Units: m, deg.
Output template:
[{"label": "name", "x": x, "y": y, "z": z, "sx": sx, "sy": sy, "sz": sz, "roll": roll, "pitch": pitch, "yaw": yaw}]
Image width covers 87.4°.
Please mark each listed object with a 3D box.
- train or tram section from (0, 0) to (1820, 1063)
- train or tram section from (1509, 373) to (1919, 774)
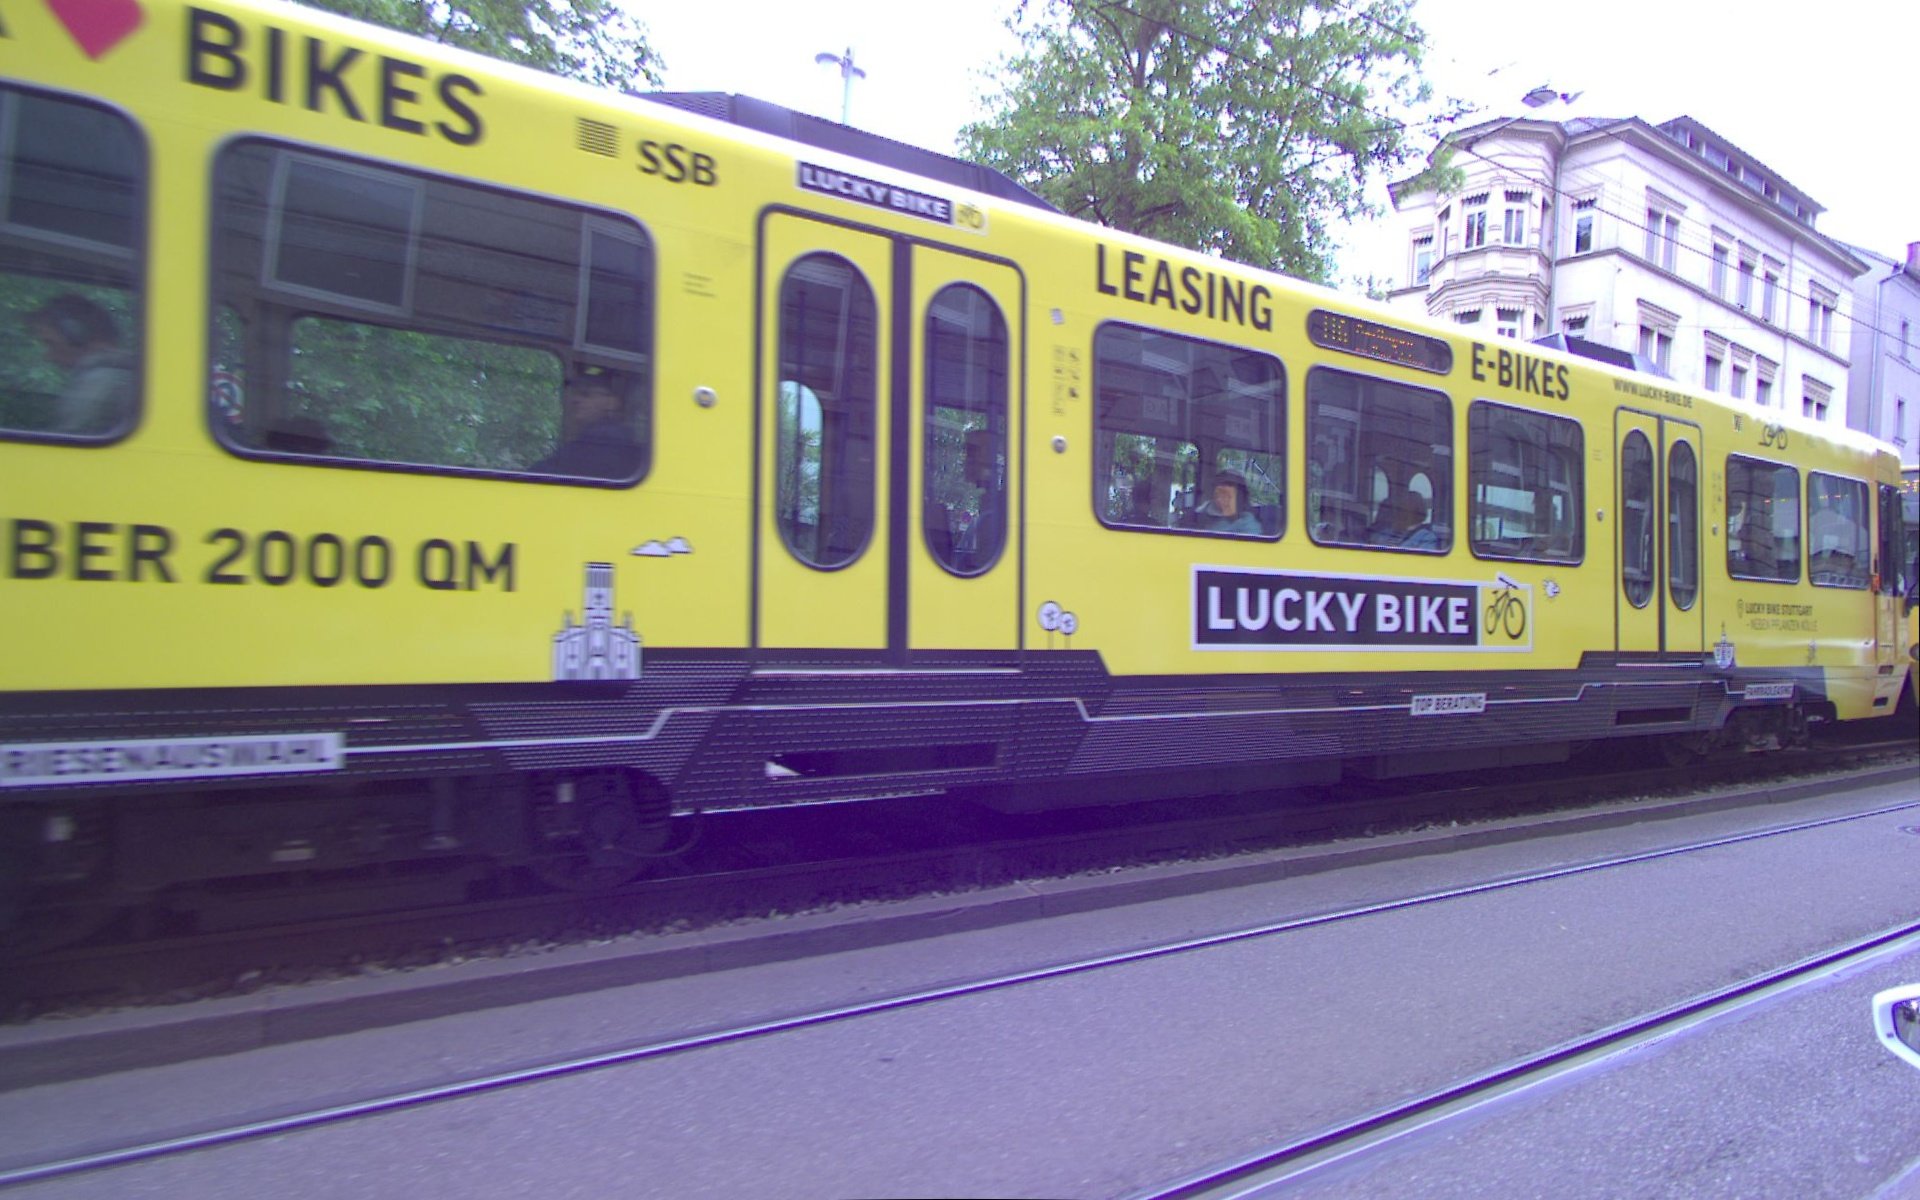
[{"label": "train or tram section", "x": -0.685, "y": -0.466, "z": 5.927, "sx": 18.485, "sy": 3.776, "sz": 2.862, "roll": 1, "pitch": 1, "yaw": -31}, {"label": "train or tram section", "x": 15.324, "y": -0.084, "z": 15.401, "sx": 18.535, "sy": 3.776, "sz": 2.862, "roll": 1, "pitch": 1, "yaw": -30}]
